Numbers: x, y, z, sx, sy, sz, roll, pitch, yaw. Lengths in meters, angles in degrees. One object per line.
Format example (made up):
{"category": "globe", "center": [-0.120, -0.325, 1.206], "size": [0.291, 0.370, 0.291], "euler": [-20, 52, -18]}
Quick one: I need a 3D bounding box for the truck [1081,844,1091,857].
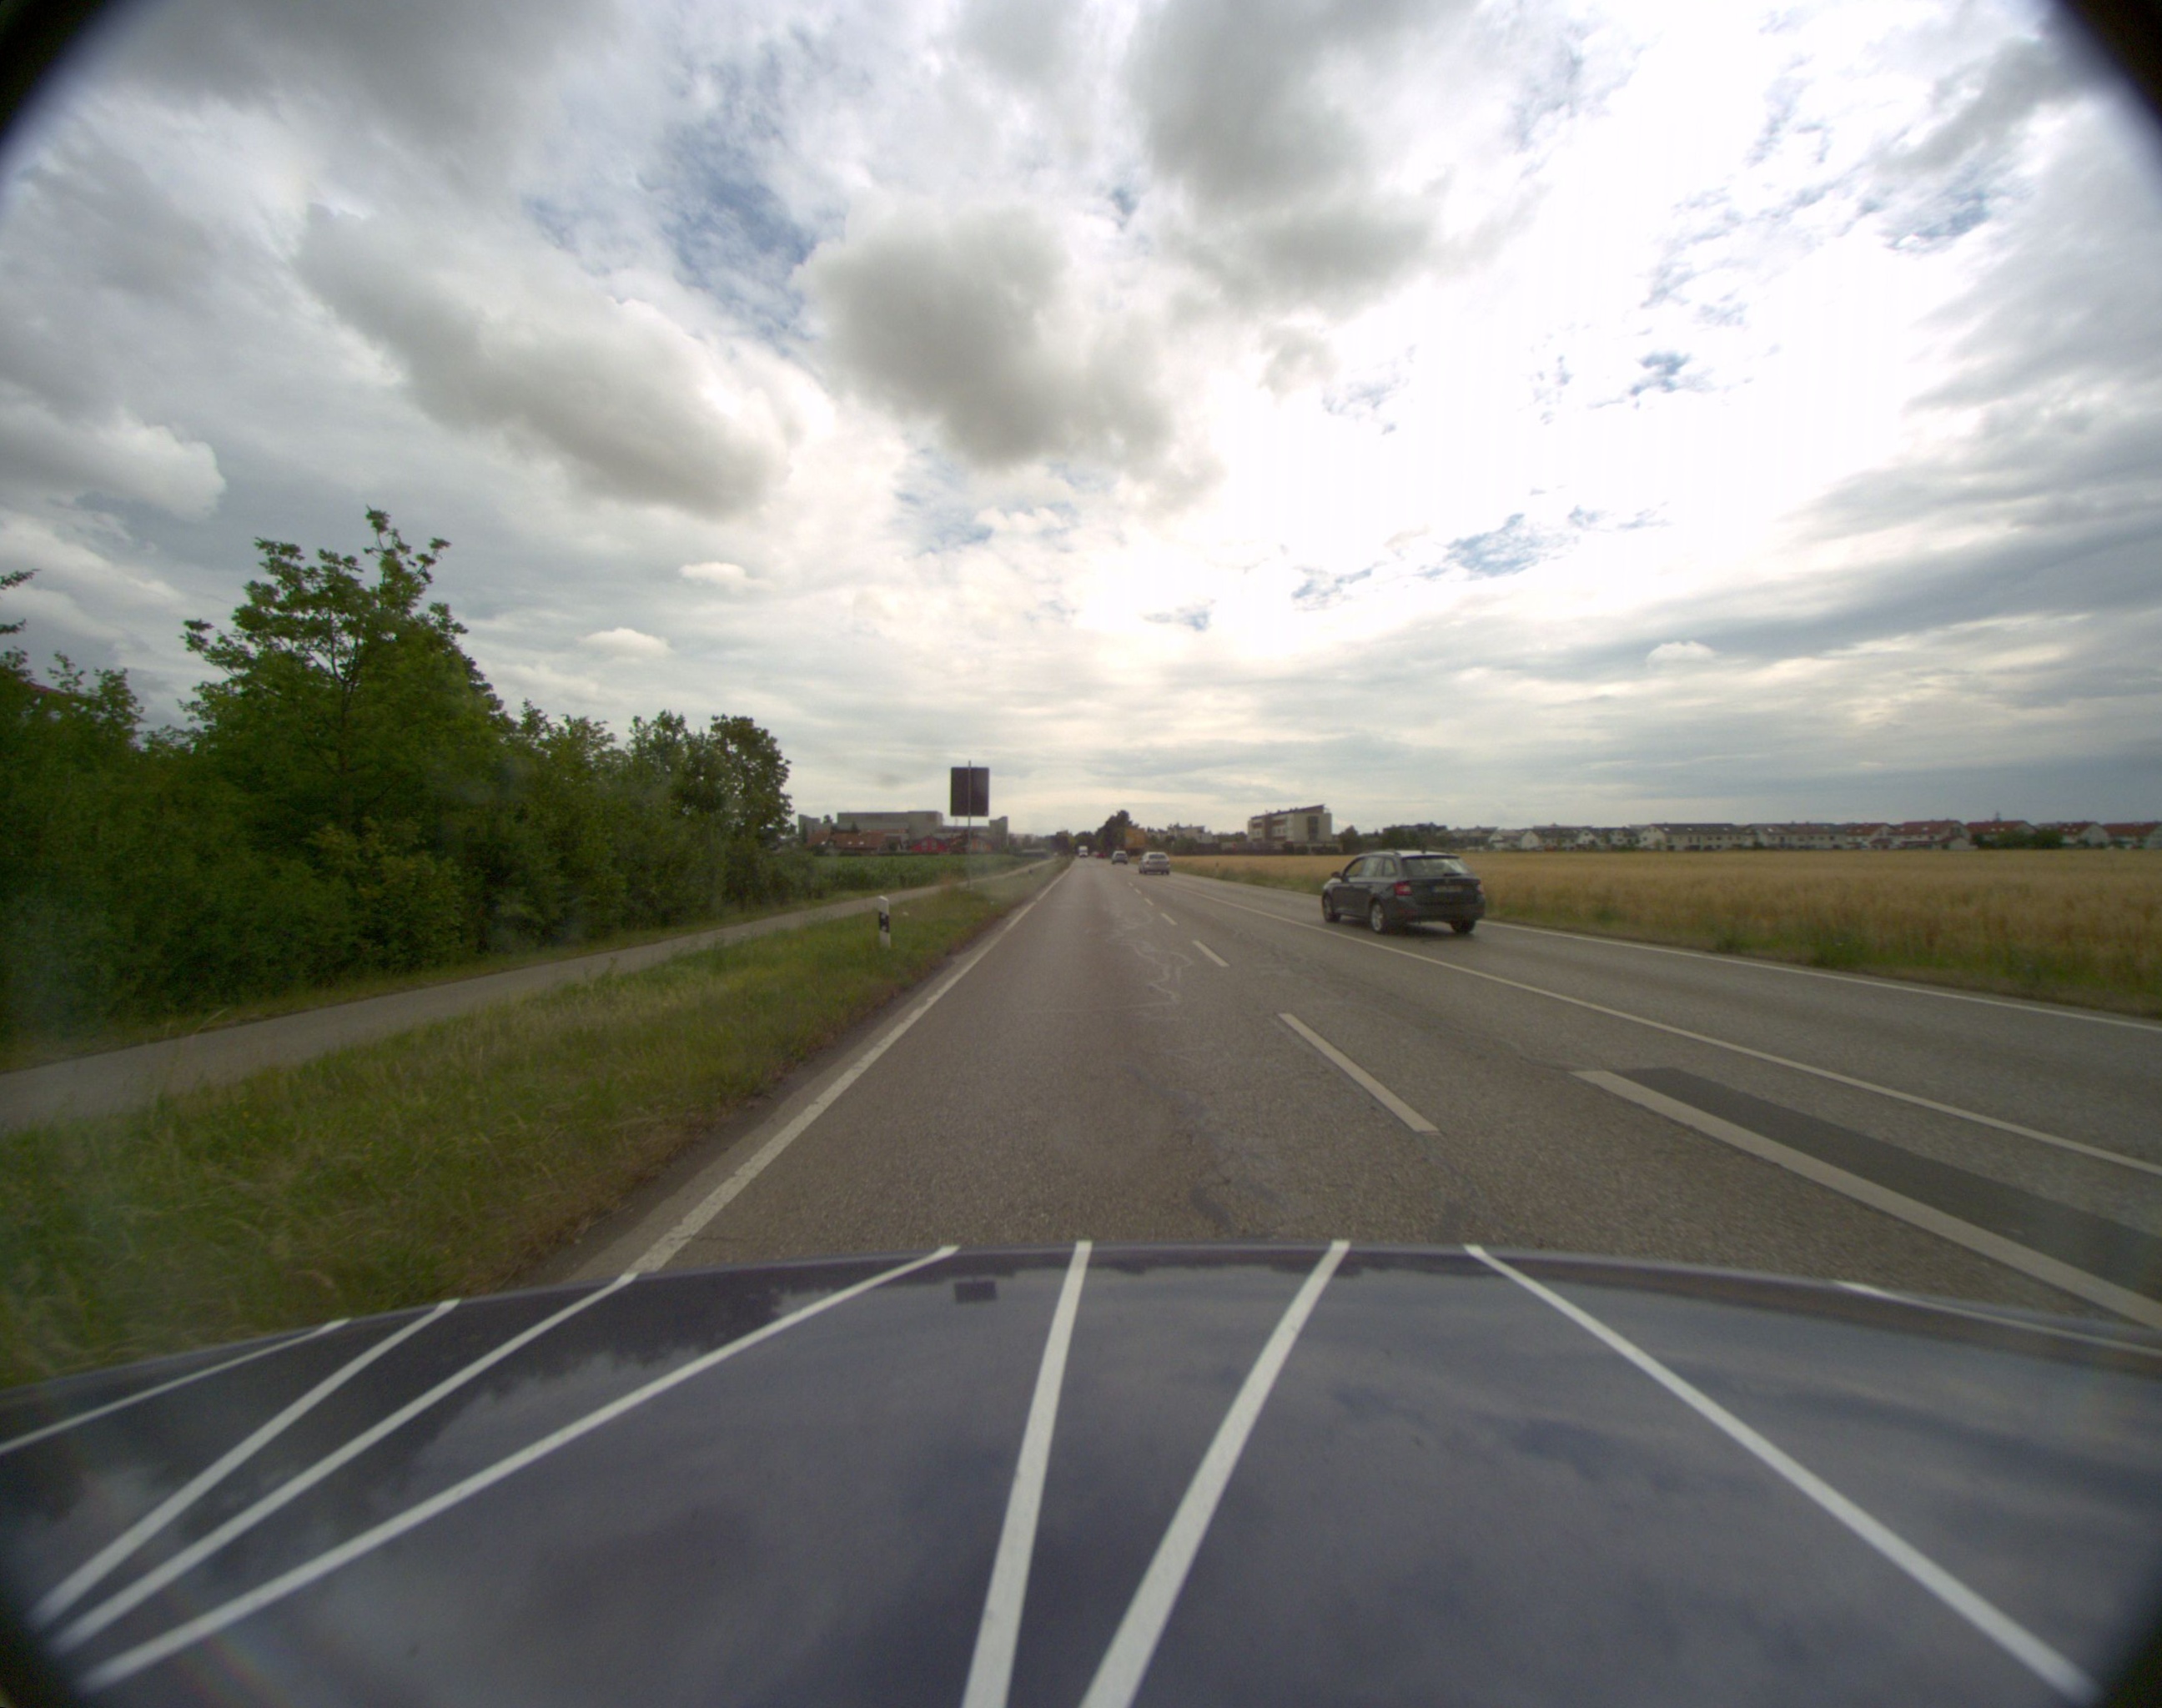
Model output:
{"category": "truck", "center": [1.489, -0.957, 221.142], "size": [2.813, 3.588, 11.218], "euler": [-1, 0, 1]}

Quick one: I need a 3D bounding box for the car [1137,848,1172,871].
{"category": "car", "center": [4.987, 0.361, 51.830], "size": [1.856, 1.480, 4.263], "euler": [0, 0, -2]}

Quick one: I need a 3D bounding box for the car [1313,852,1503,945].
{"category": "car", "center": [5.920, 0.717, 14.356], "size": [1.740, 1.450, 4.131], "euler": [-1, 0, -1]}

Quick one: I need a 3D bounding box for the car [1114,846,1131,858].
{"category": "car", "center": [5.210, -0.241, 95.313], "size": [1.856, 1.480, 4.263], "euler": [0, 0, -1]}
